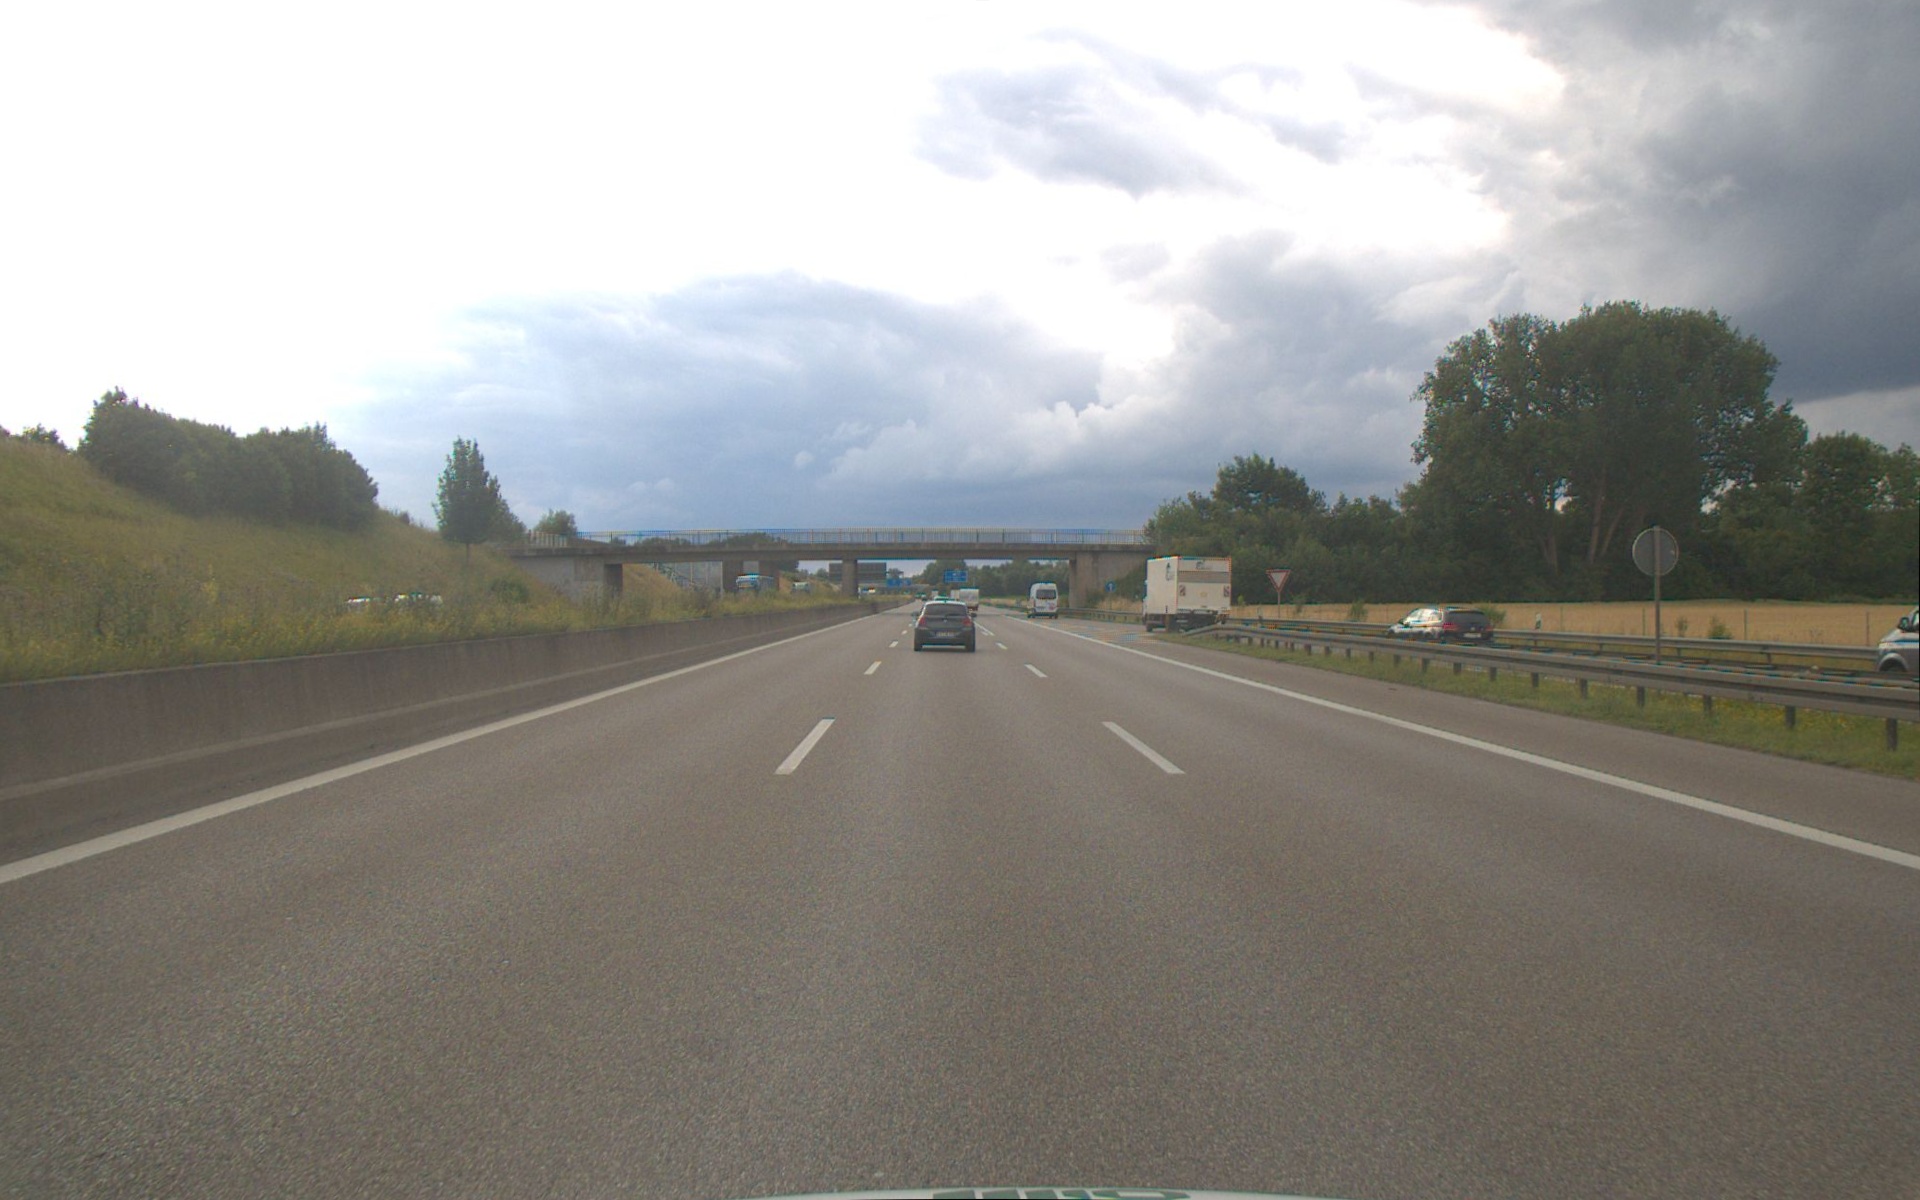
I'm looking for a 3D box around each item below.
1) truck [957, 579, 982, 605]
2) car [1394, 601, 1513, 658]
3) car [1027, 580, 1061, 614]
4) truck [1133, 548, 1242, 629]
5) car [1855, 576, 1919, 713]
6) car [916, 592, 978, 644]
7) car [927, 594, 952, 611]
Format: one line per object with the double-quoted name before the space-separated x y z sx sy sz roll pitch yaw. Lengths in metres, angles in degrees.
"truck" 1.118 -0.924 200.328 2.655 3.016 12.443 1 0 -1
"car" 14.736 0.847 49.646 1.879 1.577 4.921 -1 0 -3
"car" 6.526 -0.222 129.206 2.176 2.613 6.255 0 0 -1
"truck" 10.685 -0.527 78.828 3.045 3.531 8.879 1 0 -6
"car" 15.765 0.697 24.474 2.101 2.099 4.954 1 0 -4
"car" -0.397 0.496 47.859 1.708 1.413 3.999 1 0 -1
"car" -1.622 0.197 131.228 1.953 1.321 3.999 -1 0 -2
